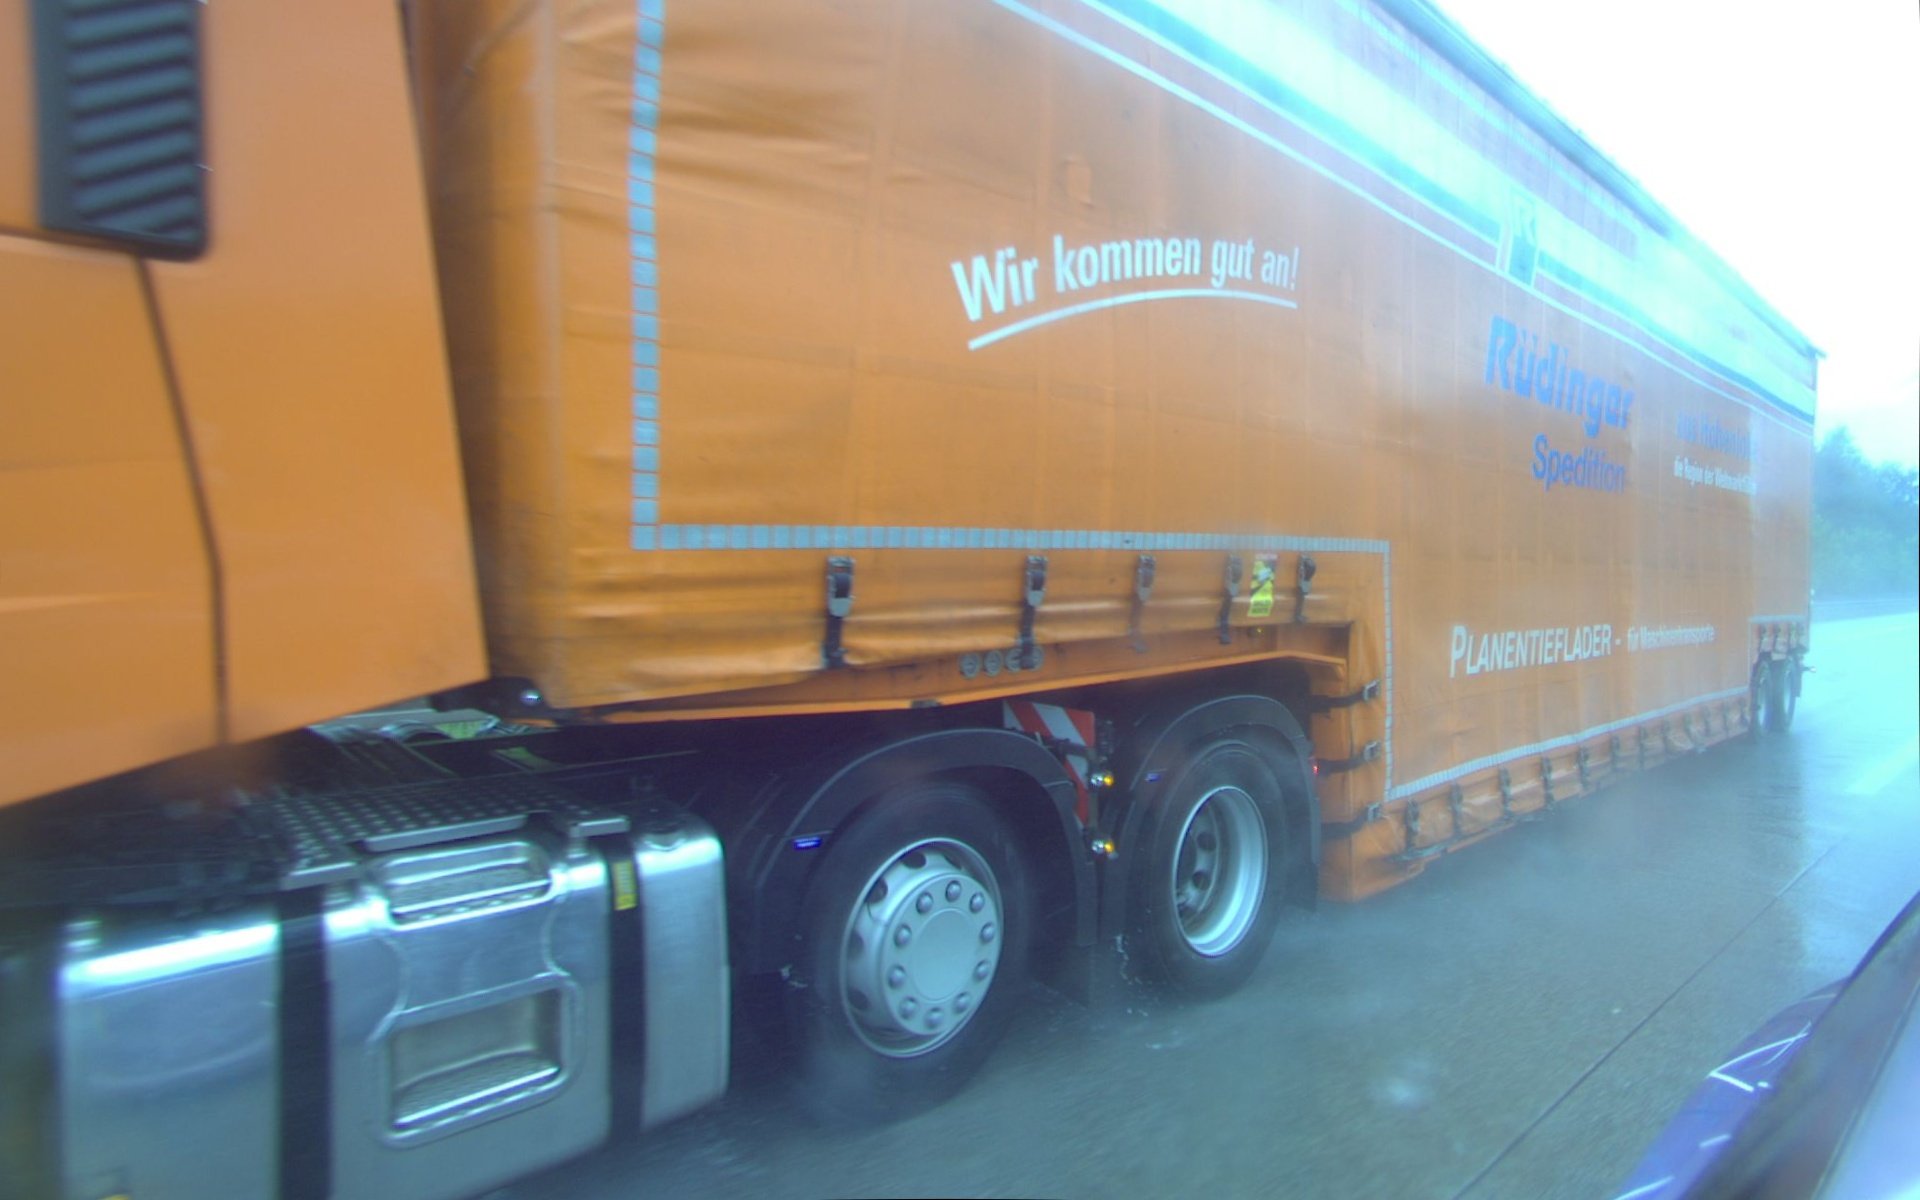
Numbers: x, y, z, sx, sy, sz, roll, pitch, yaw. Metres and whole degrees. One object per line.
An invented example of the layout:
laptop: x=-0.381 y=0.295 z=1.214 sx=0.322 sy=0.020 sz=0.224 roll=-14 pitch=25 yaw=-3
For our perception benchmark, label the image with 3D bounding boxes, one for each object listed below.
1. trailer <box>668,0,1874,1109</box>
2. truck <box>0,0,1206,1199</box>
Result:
trailer: x=4.315 y=-0.785 z=8.051 sx=12.778 sy=4.208 sz=2.800 roll=-1 pitch=2 yaw=-41
truck: x=-2.171 y=-0.681 z=2.404 sx=5.342 sy=4.138 sz=2.764 roll=0 pitch=2 yaw=-41
